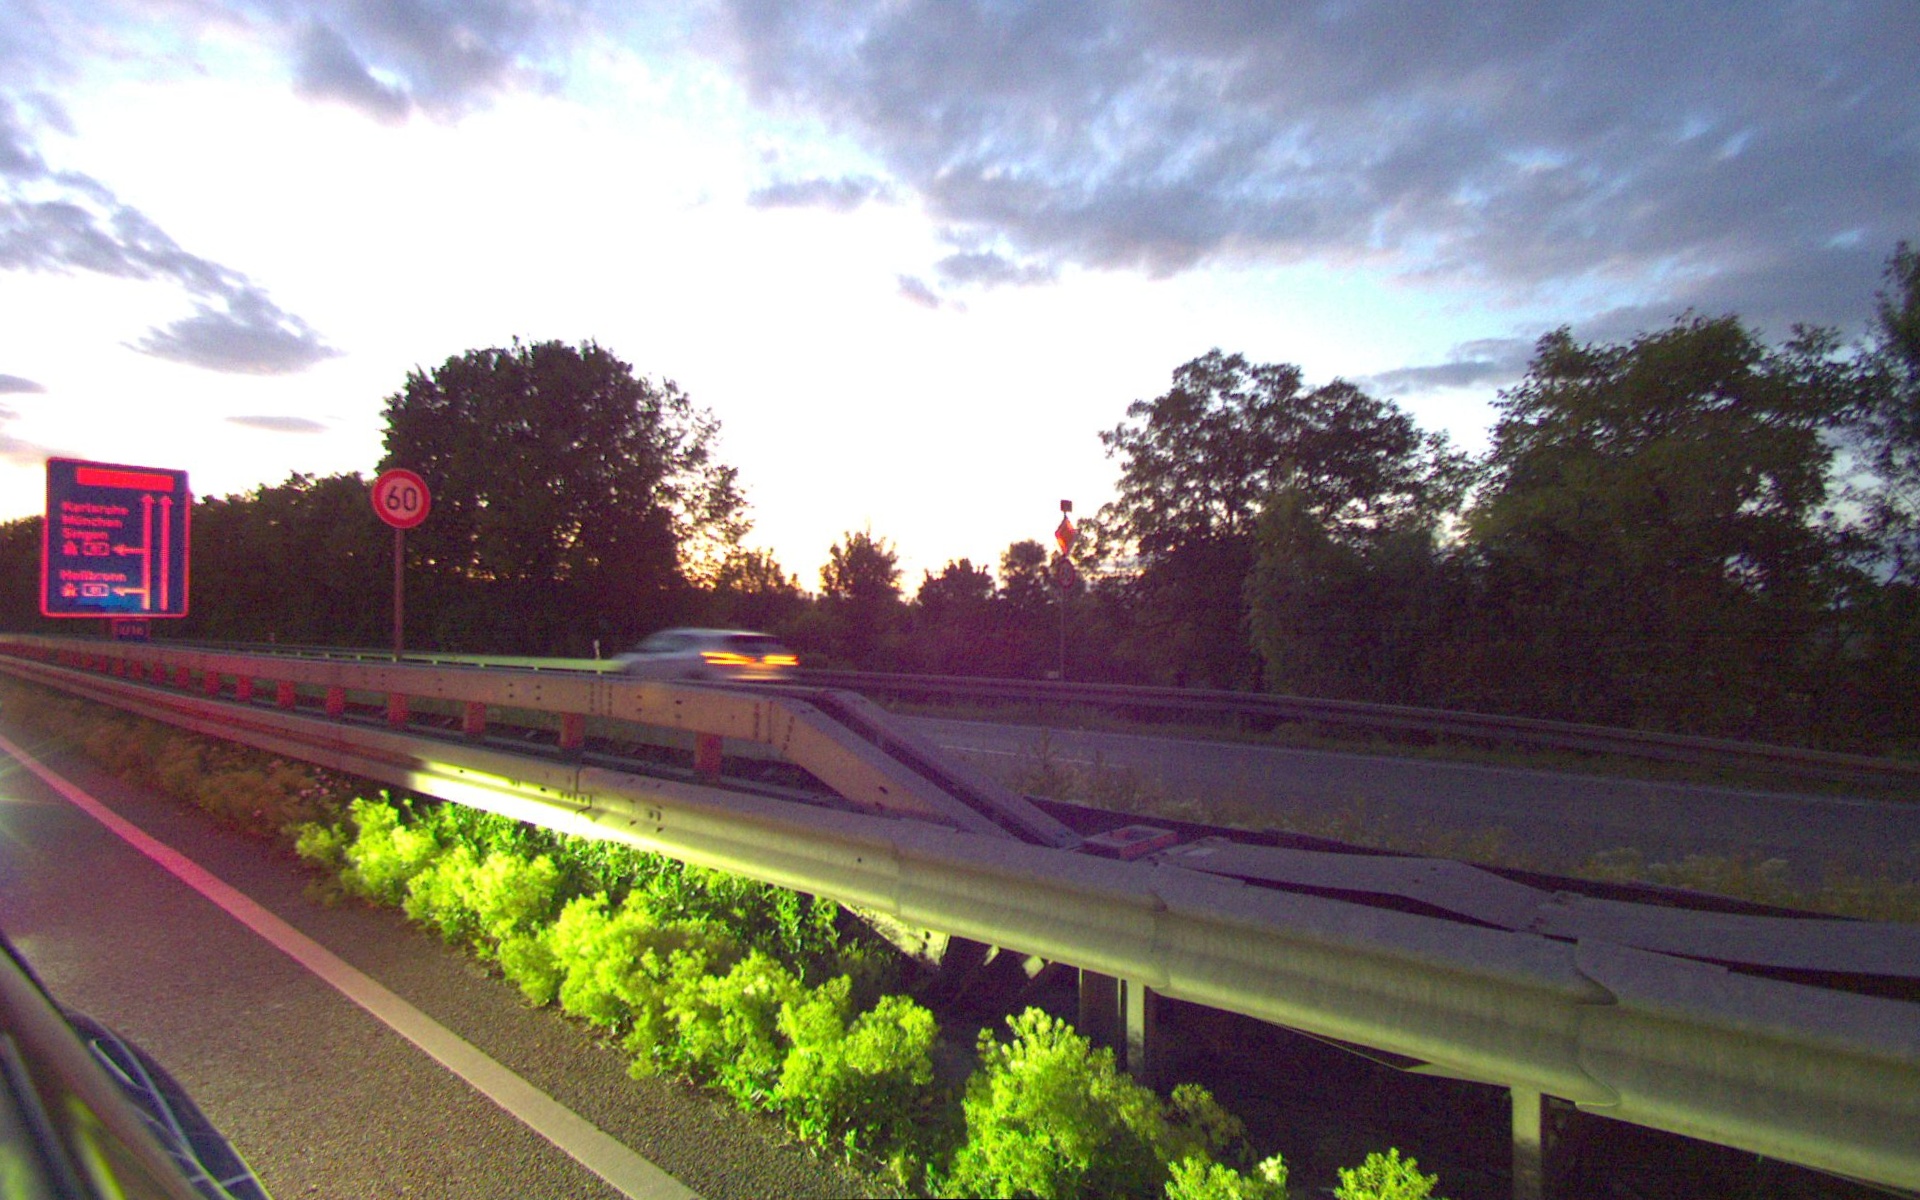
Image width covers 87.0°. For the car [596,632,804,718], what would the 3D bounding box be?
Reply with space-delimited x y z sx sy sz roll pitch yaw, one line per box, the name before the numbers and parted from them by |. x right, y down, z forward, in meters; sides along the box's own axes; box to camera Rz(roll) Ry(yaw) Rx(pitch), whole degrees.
car | -5.285 1.418 20.307 4.295 1.530 1.973 -2 -2 41

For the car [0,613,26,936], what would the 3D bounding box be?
car | -6.709 0.851 5.507 4.511 1.492 1.877 -1 -1 40
